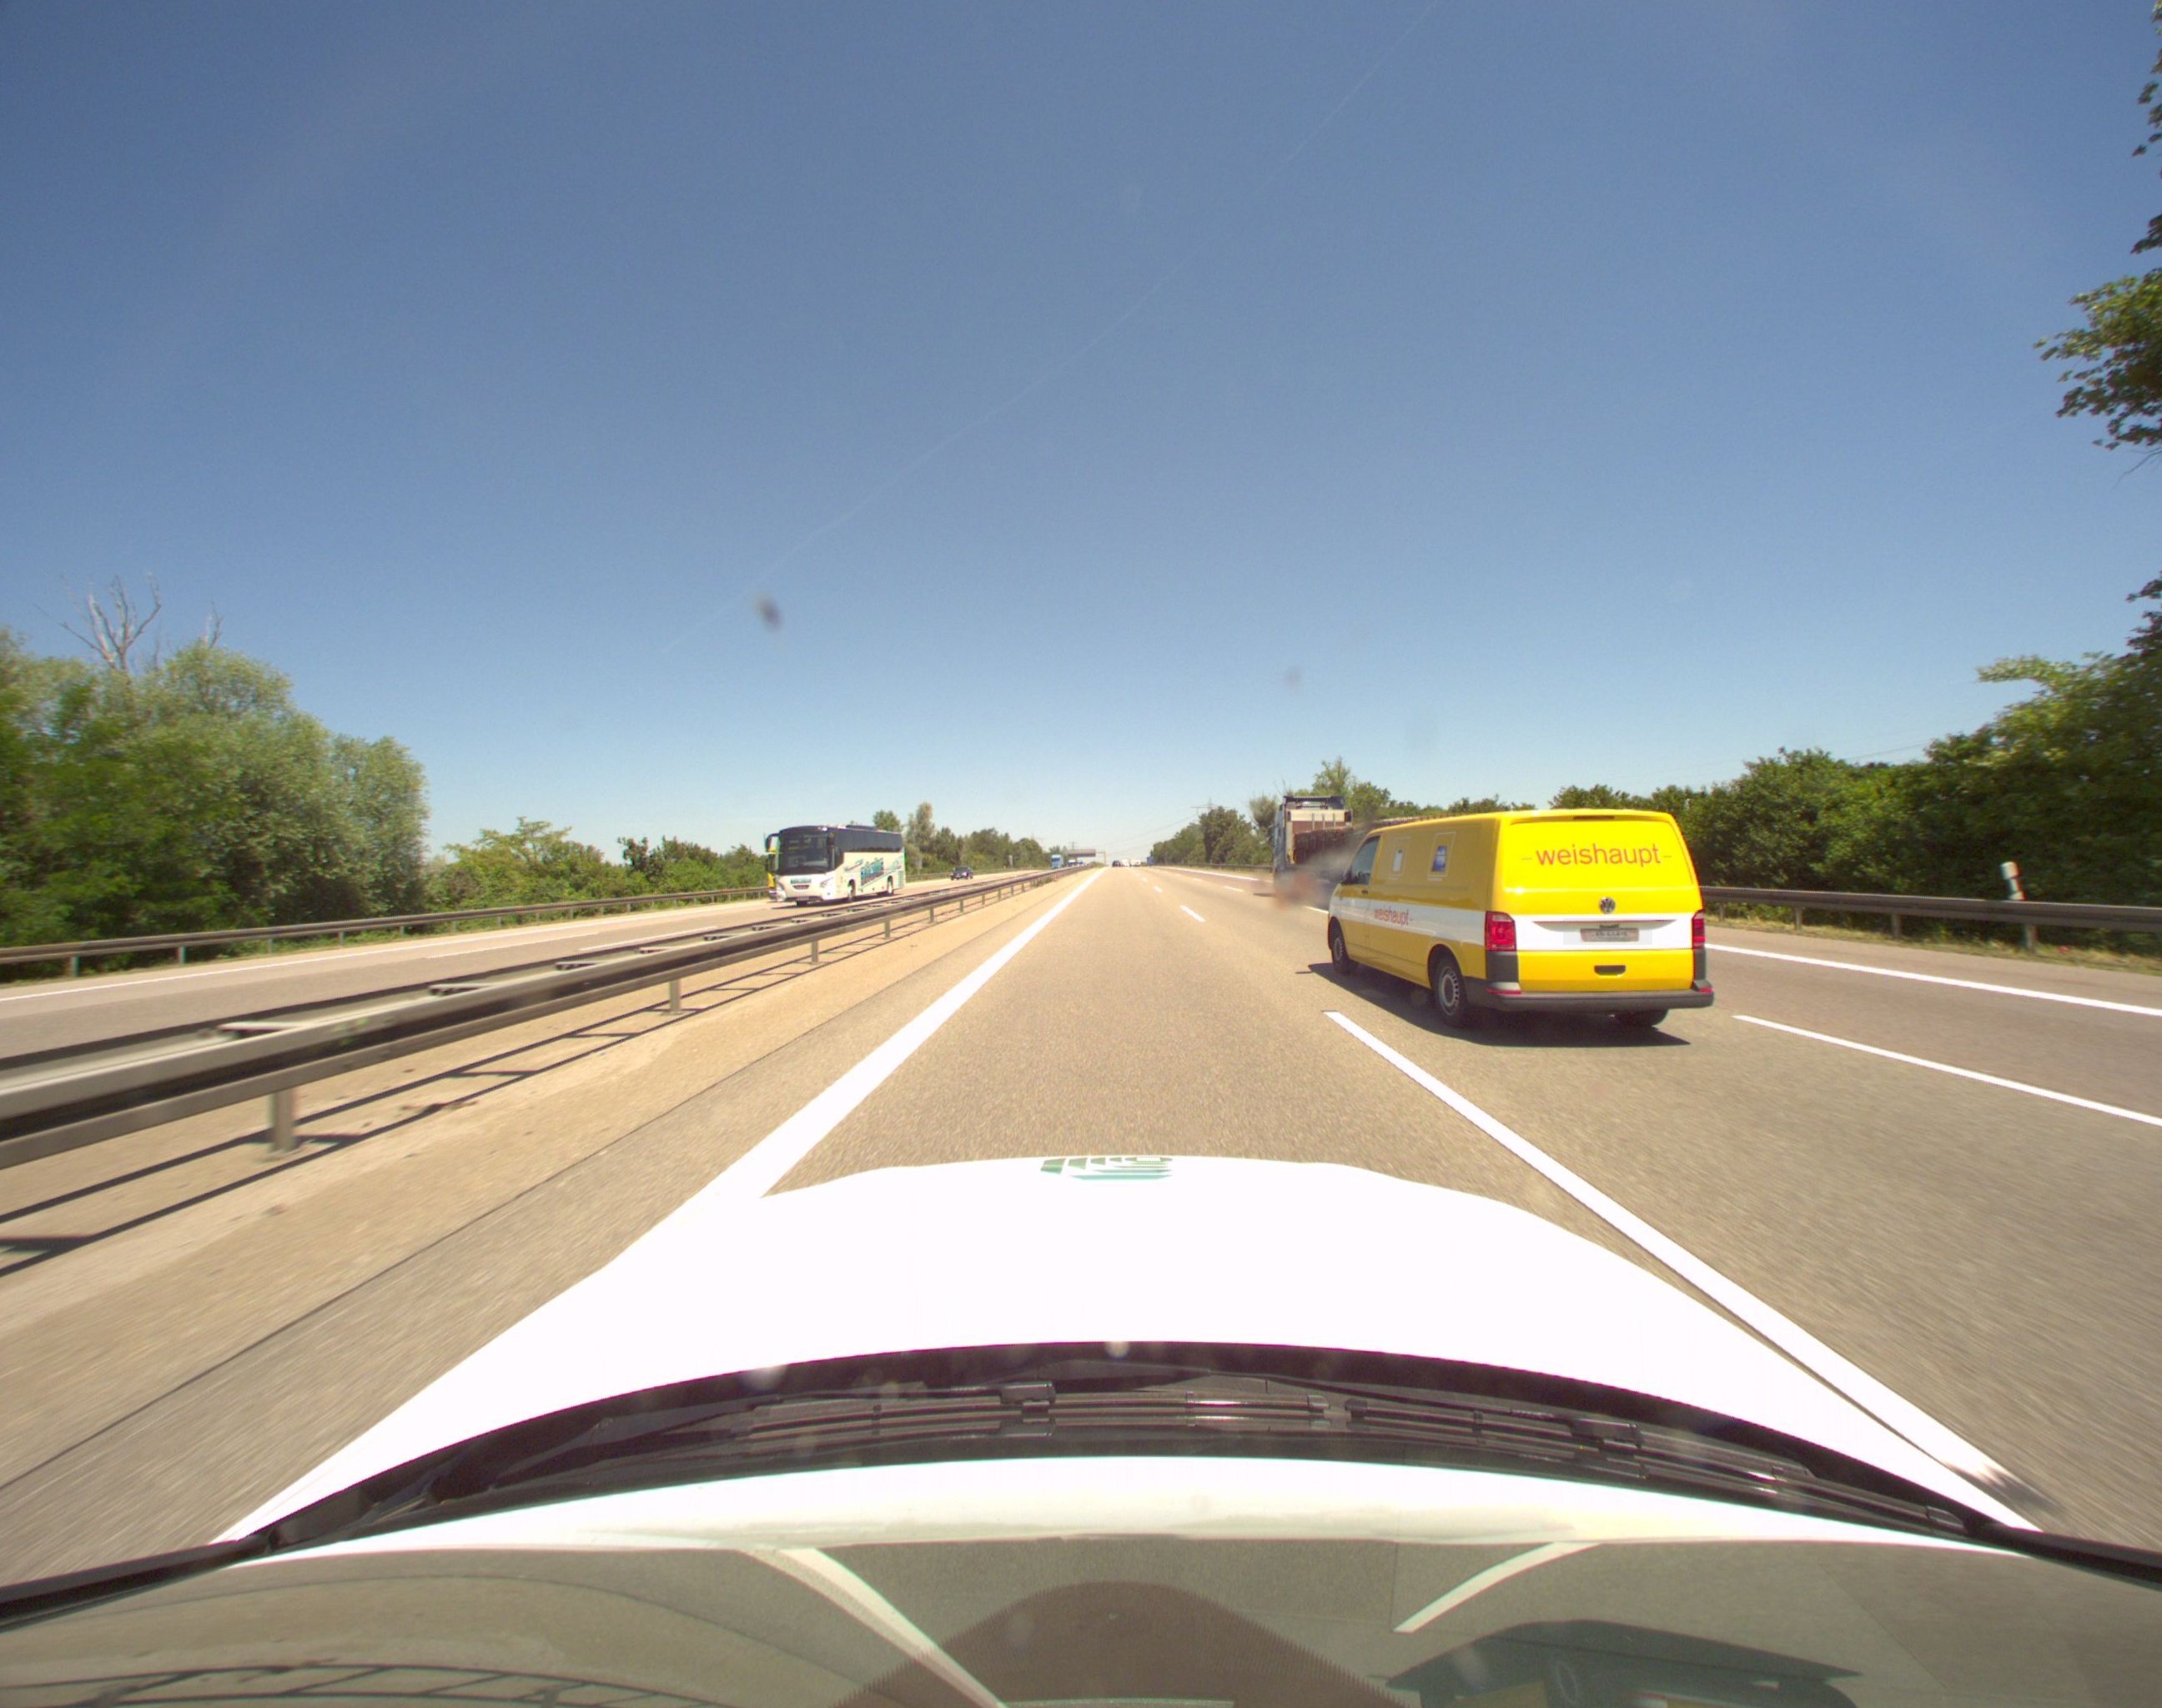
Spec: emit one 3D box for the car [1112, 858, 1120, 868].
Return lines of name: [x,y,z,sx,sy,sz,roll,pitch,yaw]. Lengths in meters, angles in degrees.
car: [7.755,1.969,179.080,1.784,2.014,3.890,0,-1,3]

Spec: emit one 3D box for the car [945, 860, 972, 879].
car: [-13.433,1.727,89.412,1.987,1.872,4.582,-5,-1,1]

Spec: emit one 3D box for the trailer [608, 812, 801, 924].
trailer: [-15.728,0.547,35.341,2.910,3.968,10.541,-3,0,2]

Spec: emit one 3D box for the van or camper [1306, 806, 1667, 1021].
van or camper: [4.297,0.541,9.749,1.986,1.909,4.973,0,0,2]

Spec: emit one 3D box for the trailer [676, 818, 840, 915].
trailer: [-15.544,0.575,40.636,2.910,3.968,11.656,-3,0,2]

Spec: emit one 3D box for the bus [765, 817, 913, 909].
bus: [-11.202,0.385,39.657,2.684,3.583,12.800,-4,0,2]

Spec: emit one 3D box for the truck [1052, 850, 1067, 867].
truck: [-6.298,1.319,241.350,3.214,4.720,16.865,-4,-1,2]

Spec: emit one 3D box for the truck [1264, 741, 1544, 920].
truck: [9.026,-0.406,26.365,2.958,3.957,16.618,0,-1,2]

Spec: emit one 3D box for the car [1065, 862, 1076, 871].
car: [-2.223,2.691,175.666,1.986,1.604,4.602,-7,-1,2]

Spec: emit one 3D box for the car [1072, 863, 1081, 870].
car: [-1.130,3.014,196.949,1.986,1.690,4.411,-2,-1,2]
